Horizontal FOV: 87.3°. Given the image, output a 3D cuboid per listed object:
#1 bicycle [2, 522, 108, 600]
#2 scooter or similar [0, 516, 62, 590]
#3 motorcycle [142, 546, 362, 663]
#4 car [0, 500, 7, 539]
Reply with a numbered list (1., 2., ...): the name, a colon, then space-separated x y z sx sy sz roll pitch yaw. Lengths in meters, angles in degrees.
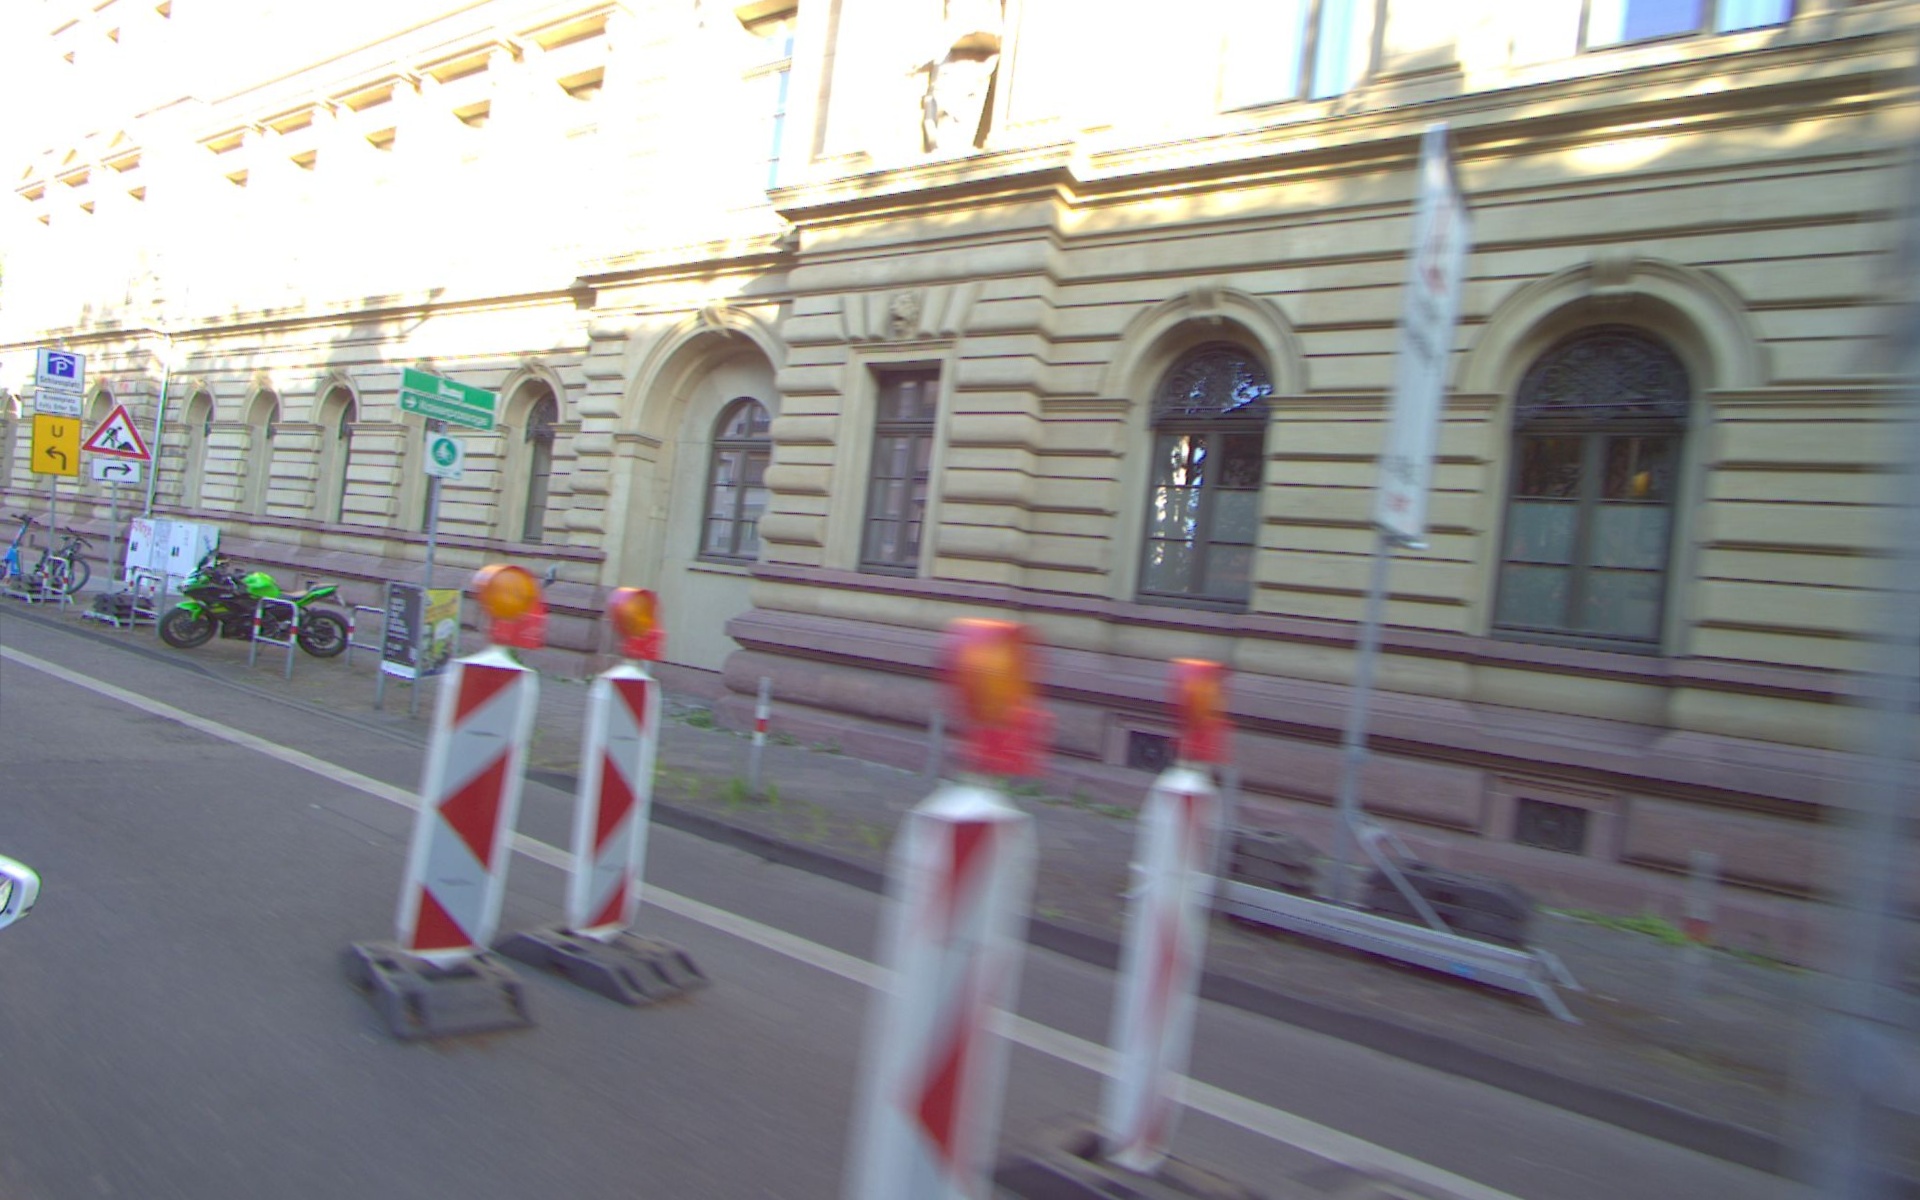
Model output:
1. bicycle: -15.646 -0.679 17.383 1.912 1.149 0.827 7 2 32
2. scooter or similar: -17.023 -0.874 18.080 0.575 1.209 1.130 7 -1 39
3. motorcycle: -8.706 0.071 12.496 2.080 1.230 0.705 6 1 -29
4. car: -40.165 -3.468 38.576 1.805 1.564 4.841 7 0 29
